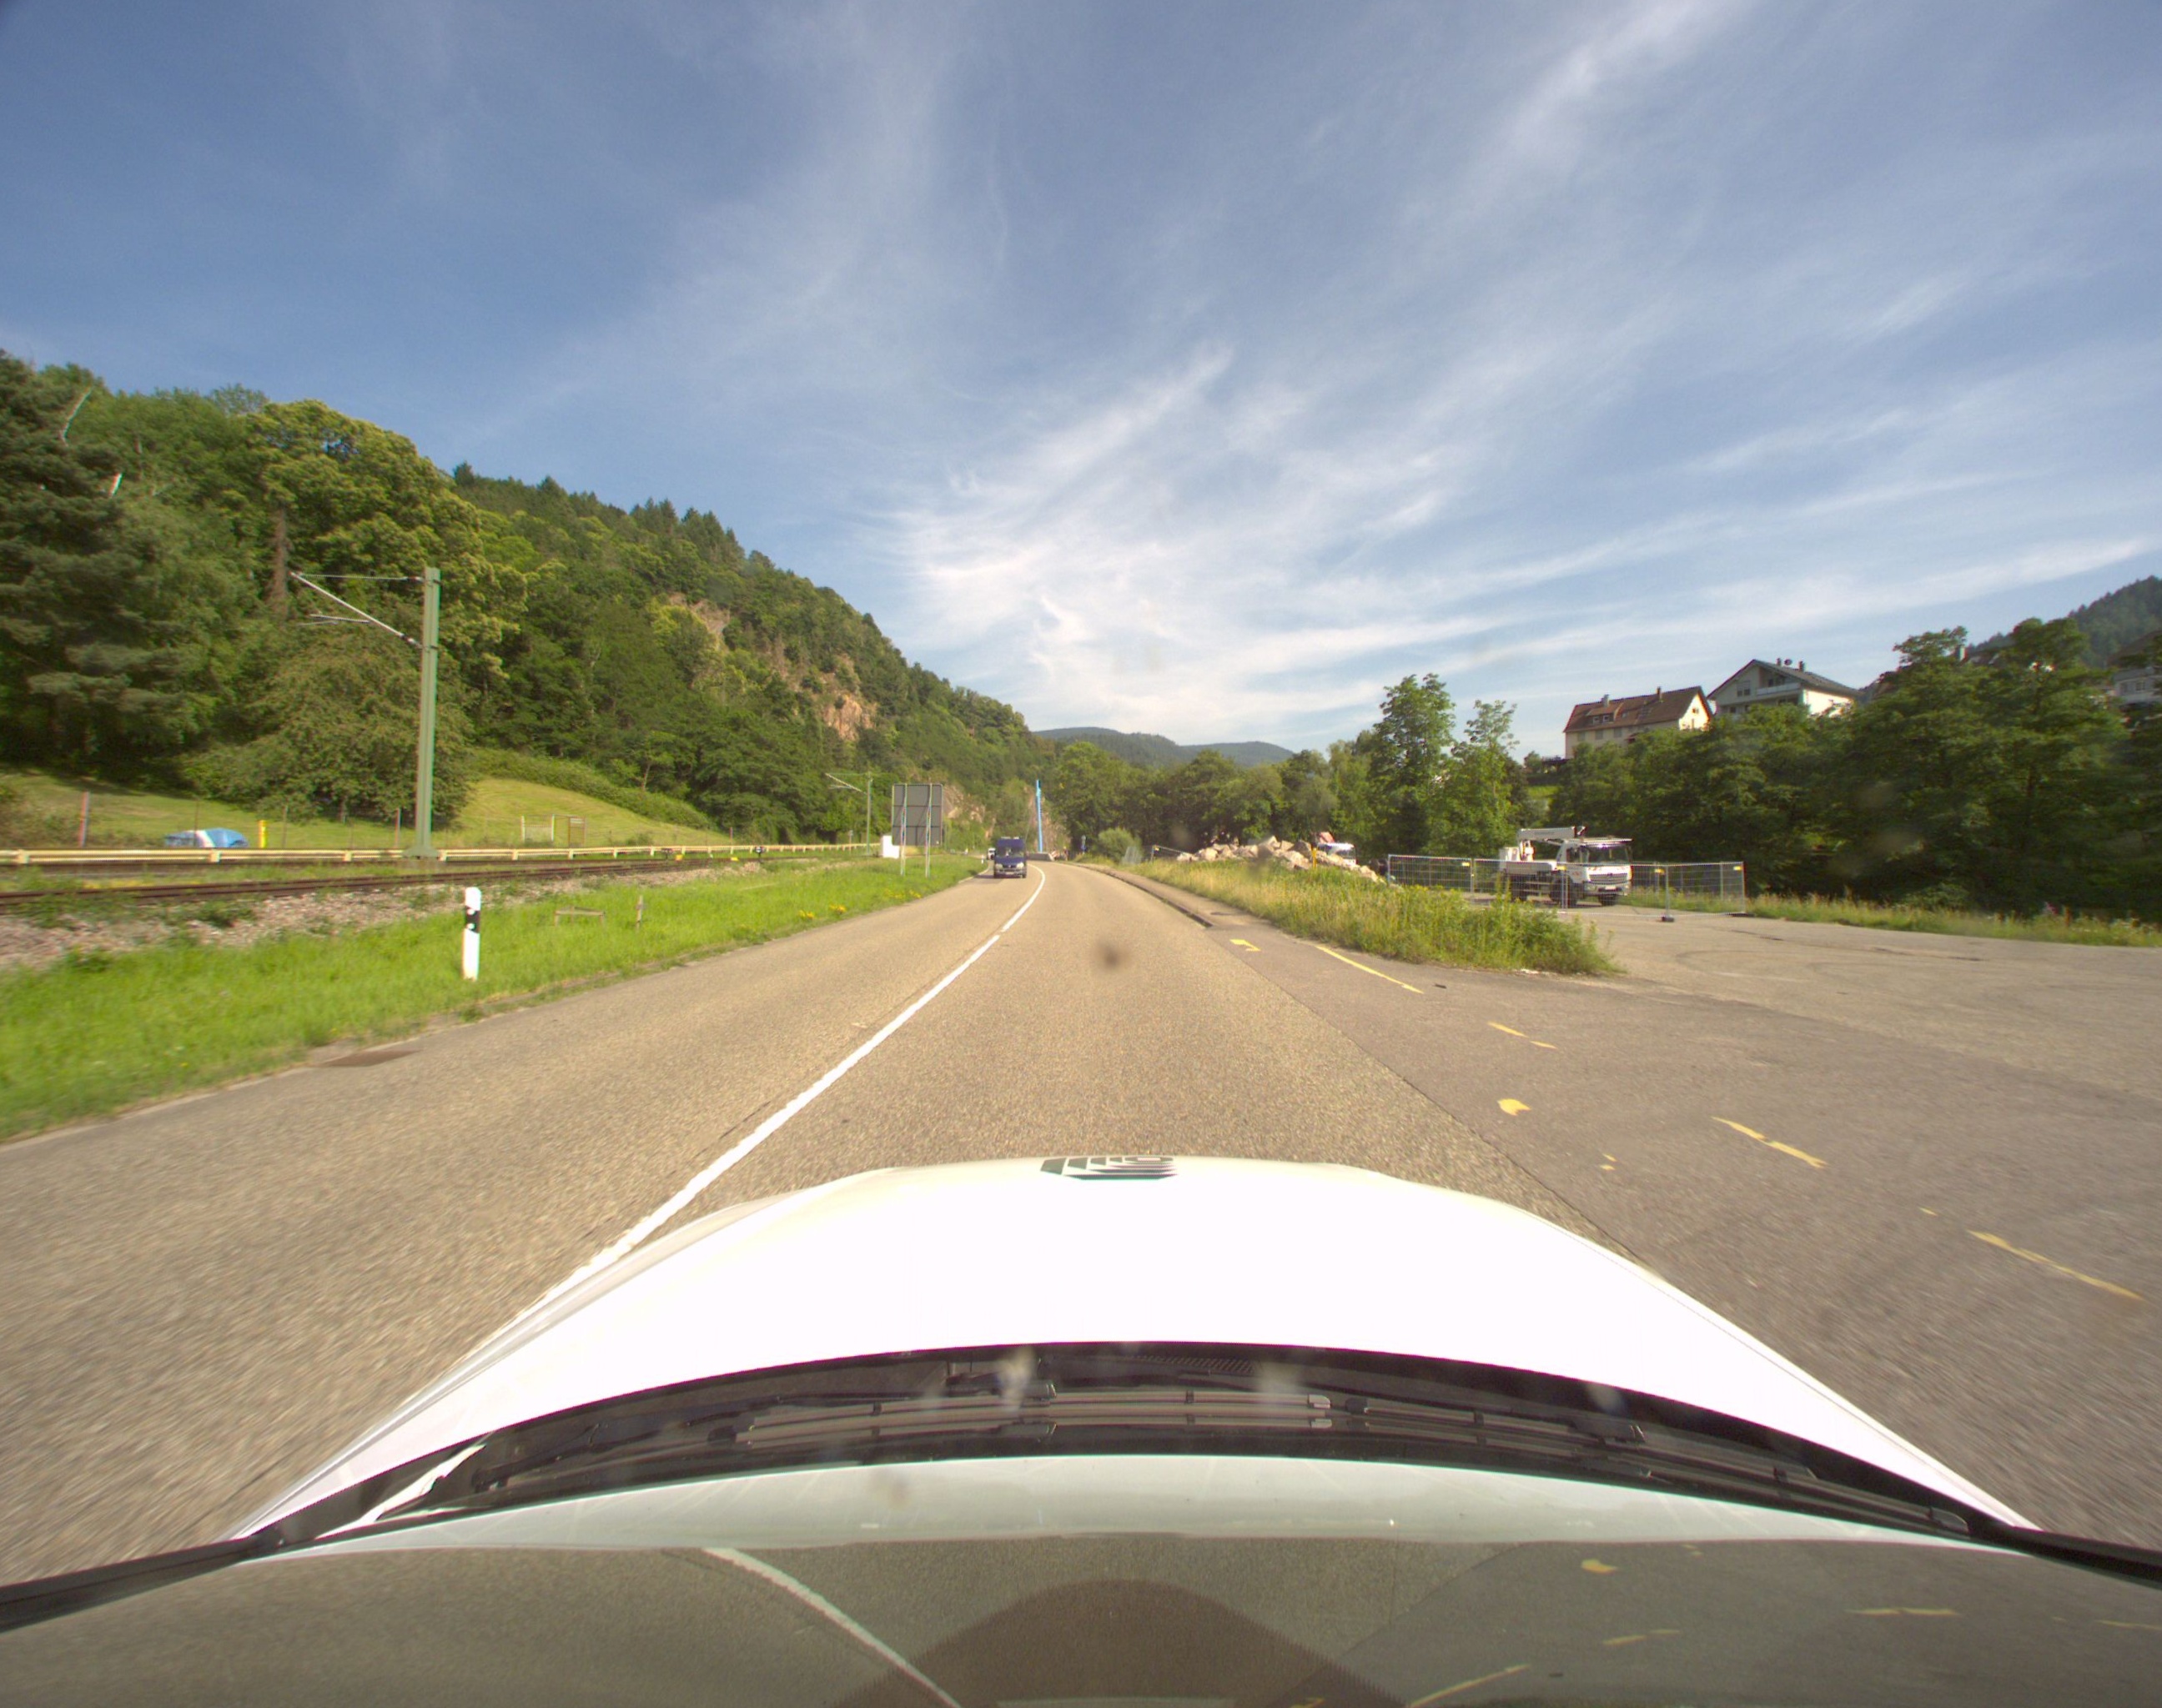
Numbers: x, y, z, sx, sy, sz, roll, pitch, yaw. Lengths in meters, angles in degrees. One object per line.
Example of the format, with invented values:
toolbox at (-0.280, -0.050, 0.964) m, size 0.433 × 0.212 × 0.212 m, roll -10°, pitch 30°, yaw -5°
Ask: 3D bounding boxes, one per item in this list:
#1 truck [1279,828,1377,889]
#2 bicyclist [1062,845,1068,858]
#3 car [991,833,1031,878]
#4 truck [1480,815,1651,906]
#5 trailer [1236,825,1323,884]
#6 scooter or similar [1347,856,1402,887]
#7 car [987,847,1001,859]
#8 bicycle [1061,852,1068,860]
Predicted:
truck at (16.803, 0.296, 56.150) m, size 3.101 × 3.782 × 8.621 m, roll 2°, pitch 0°, yaw -8°
bicyclist at (-2.120, -0.365, 105.200) m, size 0.640 × 1.654 × 0.806 m, roll 3°, pitch 0°, yaw -7°
car at (-4.288, 0.053, 50.729) m, size 2.121 × 2.615 × 5.476 m, roll -1°, pitch 0°, yaw -2°
truck at (22.737, 0.276, 38.950) m, size 3.092 × 3.782 × 8.646 m, roll 2°, pitch 0°, yaw 1°
trailer at (15.699, 0.083, 65.317) m, size 3.362 × 4.274 × 9.882 m, roll 2°, pitch -1°, yaw -8°
scooter or similar at (19.841, 1.168, 55.236) m, size 1.990 × 2.013 × 3.993 m, roll 0°, pitch 0°, yaw -5°
car at (-13.464, -0.216, 125.863) m, size 1.870 × 1.781 × 4.585 m, roll 1°, pitch 1°, yaw -10°
bicycle at (-2.164, 0.265, 105.297) m, size 0.648 × 0.942 × 1.843 m, roll 3°, pitch 0°, yaw -7°
